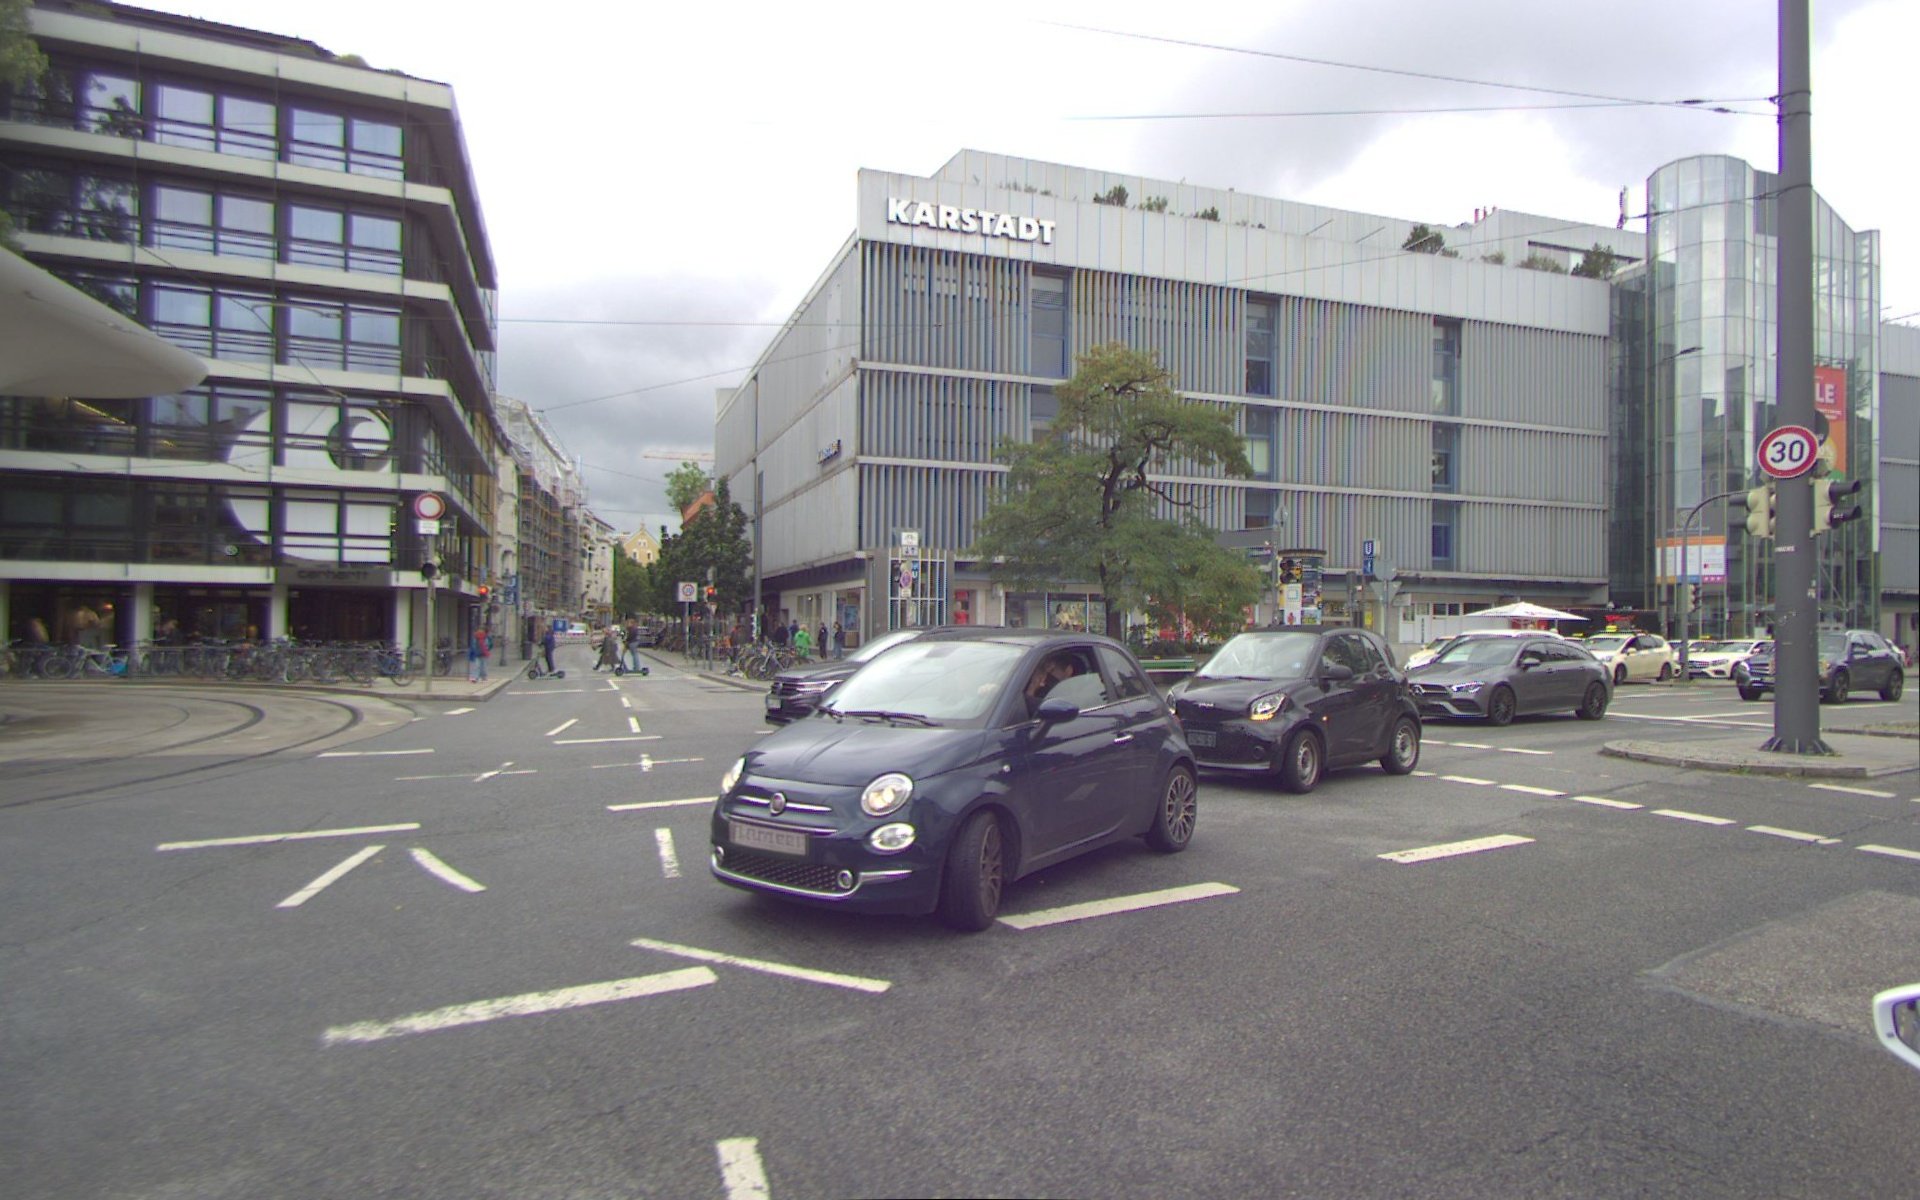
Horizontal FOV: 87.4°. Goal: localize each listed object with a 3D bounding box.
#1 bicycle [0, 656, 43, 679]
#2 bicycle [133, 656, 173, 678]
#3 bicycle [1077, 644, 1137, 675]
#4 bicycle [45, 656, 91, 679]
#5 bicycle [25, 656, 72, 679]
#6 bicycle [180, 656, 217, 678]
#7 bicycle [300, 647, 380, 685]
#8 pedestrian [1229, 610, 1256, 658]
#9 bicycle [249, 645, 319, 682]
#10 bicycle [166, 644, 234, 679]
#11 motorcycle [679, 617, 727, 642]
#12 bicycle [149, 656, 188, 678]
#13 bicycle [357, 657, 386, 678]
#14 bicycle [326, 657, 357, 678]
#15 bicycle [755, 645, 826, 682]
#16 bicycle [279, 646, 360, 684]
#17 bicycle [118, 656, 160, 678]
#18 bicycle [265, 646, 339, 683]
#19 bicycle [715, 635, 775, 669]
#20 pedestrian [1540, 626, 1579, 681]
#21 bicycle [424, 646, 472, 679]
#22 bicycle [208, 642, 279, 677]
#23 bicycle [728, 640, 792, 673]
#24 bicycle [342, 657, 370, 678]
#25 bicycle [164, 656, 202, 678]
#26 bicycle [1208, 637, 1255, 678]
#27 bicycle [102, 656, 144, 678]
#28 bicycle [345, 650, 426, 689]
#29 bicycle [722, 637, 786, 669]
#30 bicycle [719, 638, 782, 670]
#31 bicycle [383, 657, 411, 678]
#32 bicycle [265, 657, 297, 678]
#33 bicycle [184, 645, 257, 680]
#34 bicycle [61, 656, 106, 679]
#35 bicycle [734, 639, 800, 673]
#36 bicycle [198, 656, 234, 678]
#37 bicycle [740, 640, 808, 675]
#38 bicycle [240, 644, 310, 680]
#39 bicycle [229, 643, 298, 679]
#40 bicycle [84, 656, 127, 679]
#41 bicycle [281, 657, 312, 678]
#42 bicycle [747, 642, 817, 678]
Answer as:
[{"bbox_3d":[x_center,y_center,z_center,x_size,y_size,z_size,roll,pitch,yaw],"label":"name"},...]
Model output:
[{"bbox_3d":[-28.904,2.052,30.850,0.357,0.641,1.630,1,-2,-15],"label":"bicycle"},{"bbox_3d":[-25.789,2.134,32.110,0.357,0.641,1.630,1,-2,-15],"label":"bicycle"},{"bbox_3d":[5.945,2.392,40.839,1.042,1.172,3.493,1,-2,-16],"label":"bicycle"},{"bbox_3d":[-27.734,2.083,31.259,0.357,0.641,1.630,1,-2,-15],"label":"bicycle"},{"bbox_3d":[-28.189,2.071,31.089,0.357,0.641,1.630,1,-2,-15],"label":"bicycle"},{"bbox_3d":[-24.650,2.164,32.537,0.357,0.641,1.630,1,-2,-15],"label":"bicycle"},{"bbox_3d":[-16.369,1.731,26.544,0.448,0.952,1.723,-1,-3,40],"label":"bicycle"},{"bbox_3d":[9.130,1.089,32.480,0.737,1.513,0.772,0,-1,25],"label":"pedestrian"},{"bbox_3d":[-18.461,1.719,27.453,0.446,0.952,1.732,1,-2,12],"label":"bicycle"},{"bbox_3d":[-21.400,1.710,28.323,0.446,0.952,1.732,1,-2,5],"label":"bicycle"},{"bbox_3d":[-22.266,2.557,87.088,3.860,2.188,1.173,1,-1,-7],"label":"motorcycle"},{"bbox_3d":[-25.394,2.144,32.257,0.357,0.641,1.630,1,-2,-15],"label":"bicycle"},{"bbox_3d":[-20.023,2.287,34.194,0.422,0.641,1.630,1,-2,-15],"label":"bicycle"},{"bbox_3d":[-20.888,2.264,33.945,0.422,0.641,1.630,1,-2,-15],"label":"bicycle"},{"bbox_3d":[-4.913,1.841,29.166,1.963,1.011,0.524,3,-2,-30],"label":"bicycle"},{"bbox_3d":[-16.922,1.715,26.579,0.448,0.952,1.724,0,-3,38],"label":"bicycle"},{"bbox_3d":[-26.140,2.124,32.003,0.357,0.641,1.630,1,-2,-15],"label":"bicycle"},{"bbox_3d":[-17.844,1.738,27.278,0.446,0.952,1.731,0,-2,20],"label":"bicycle"},{"bbox_3d":[-7.350,1.782,34.339,1.871,1.126,0.582,3,-2,-30],"label":"bicycle"},{"bbox_3d":[19.061,1.677,31.940,0.741,1.713,0.768,1,-1,-25],"label":"pedestrian"},{"bbox_3d":[-17.618,2.129,34.592,0.421,1.088,1.635,0,-2,18],"label":"bicycle"},{"bbox_3d":[-20.105,1.666,28.224,0.446,0.952,1.732,1,-2,14],"label":"bicycle"},{"bbox_3d":[-6.498,1.849,32.671,1.963,1.011,0.524,3,-2,-30],"label":"bicycle"},{"bbox_3d":[-20.470,2.275,34.070,0.357,0.641,1.630,1,-2,-15],"label":"bicycle"},{"bbox_3d":[-25.009,2.155,32.344,0.357,0.641,1.630,1,-2,-15],"label":"bicycle"},{"bbox_3d":[7.880,1.652,29.215,0.368,1.126,1.569,1,-1,-25],"label":"bicycle"},{"bbox_3d":[-26.509,2.115,31.839,0.357,0.641,1.630,1,-2,-15],"label":"bicycle"},{"bbox_3d":[-14.588,1.767,25.547,0.448,0.952,1.723,0,-3,39],"label":"bicycle"},{"bbox_3d":[-6.794,1.758,33.188,1.963,1.011,0.524,3,-2,-30],"label":"bicycle"},{"bbox_3d":[-7.039,1.825,33.769,1.963,1.011,0.524,3,-2,-30],"label":"bicycle"},{"bbox_3d":[-19.313,2.306,34.468,0.422,0.641,1.630,1,-2,-15],"label":"bicycle"},{"bbox_3d":[-22.514,2.221,33.329,0.357,0.641,1.630,1,-2,-15],"label":"bicycle"},{"bbox_3d":[-20.649,1.733,28.080,0.446,0.952,1.732,1,-2,14],"label":"bicycle"},{"bbox_3d":[-27.382,2.092,31.388,0.357,0.641,1.630,1,-2,-15],"label":"bicycle"},{"bbox_3d":[-6.122,1.786,31.889,1.963,1.011,0.524,3,-2,-30],"label":"bicycle"},{"bbox_3d":[-24.191,2.176,32.678,0.357,0.641,1.630,1,-2,-15],"label":"bicycle"},{"bbox_3d":[-5.769,1.802,31.192,1.963,1.011,0.524,3,-2,-30],"label":"bicycle"},{"bbox_3d":[-18.951,1.702,27.827,0.446,0.952,1.732,1,-2,12],"label":"bicycle"},{"bbox_3d":[-19.430,1.686,28.069,0.446,0.952,1.732,1,-2,12],"label":"bicycle"},{"bbox_3d":[-26.846,2.107,31.574,0.357,0.641,1.630,1,-2,-15],"label":"bicycle"},{"bbox_3d":[-22.122,2.231,33.519,0.357,0.641,1.630,1,-2,-15],"label":"bicycle"},{"bbox_3d":[-5.352,1.820,30.250,1.963,1.011,0.524,3,-2,-30],"label":"bicycle"}]
